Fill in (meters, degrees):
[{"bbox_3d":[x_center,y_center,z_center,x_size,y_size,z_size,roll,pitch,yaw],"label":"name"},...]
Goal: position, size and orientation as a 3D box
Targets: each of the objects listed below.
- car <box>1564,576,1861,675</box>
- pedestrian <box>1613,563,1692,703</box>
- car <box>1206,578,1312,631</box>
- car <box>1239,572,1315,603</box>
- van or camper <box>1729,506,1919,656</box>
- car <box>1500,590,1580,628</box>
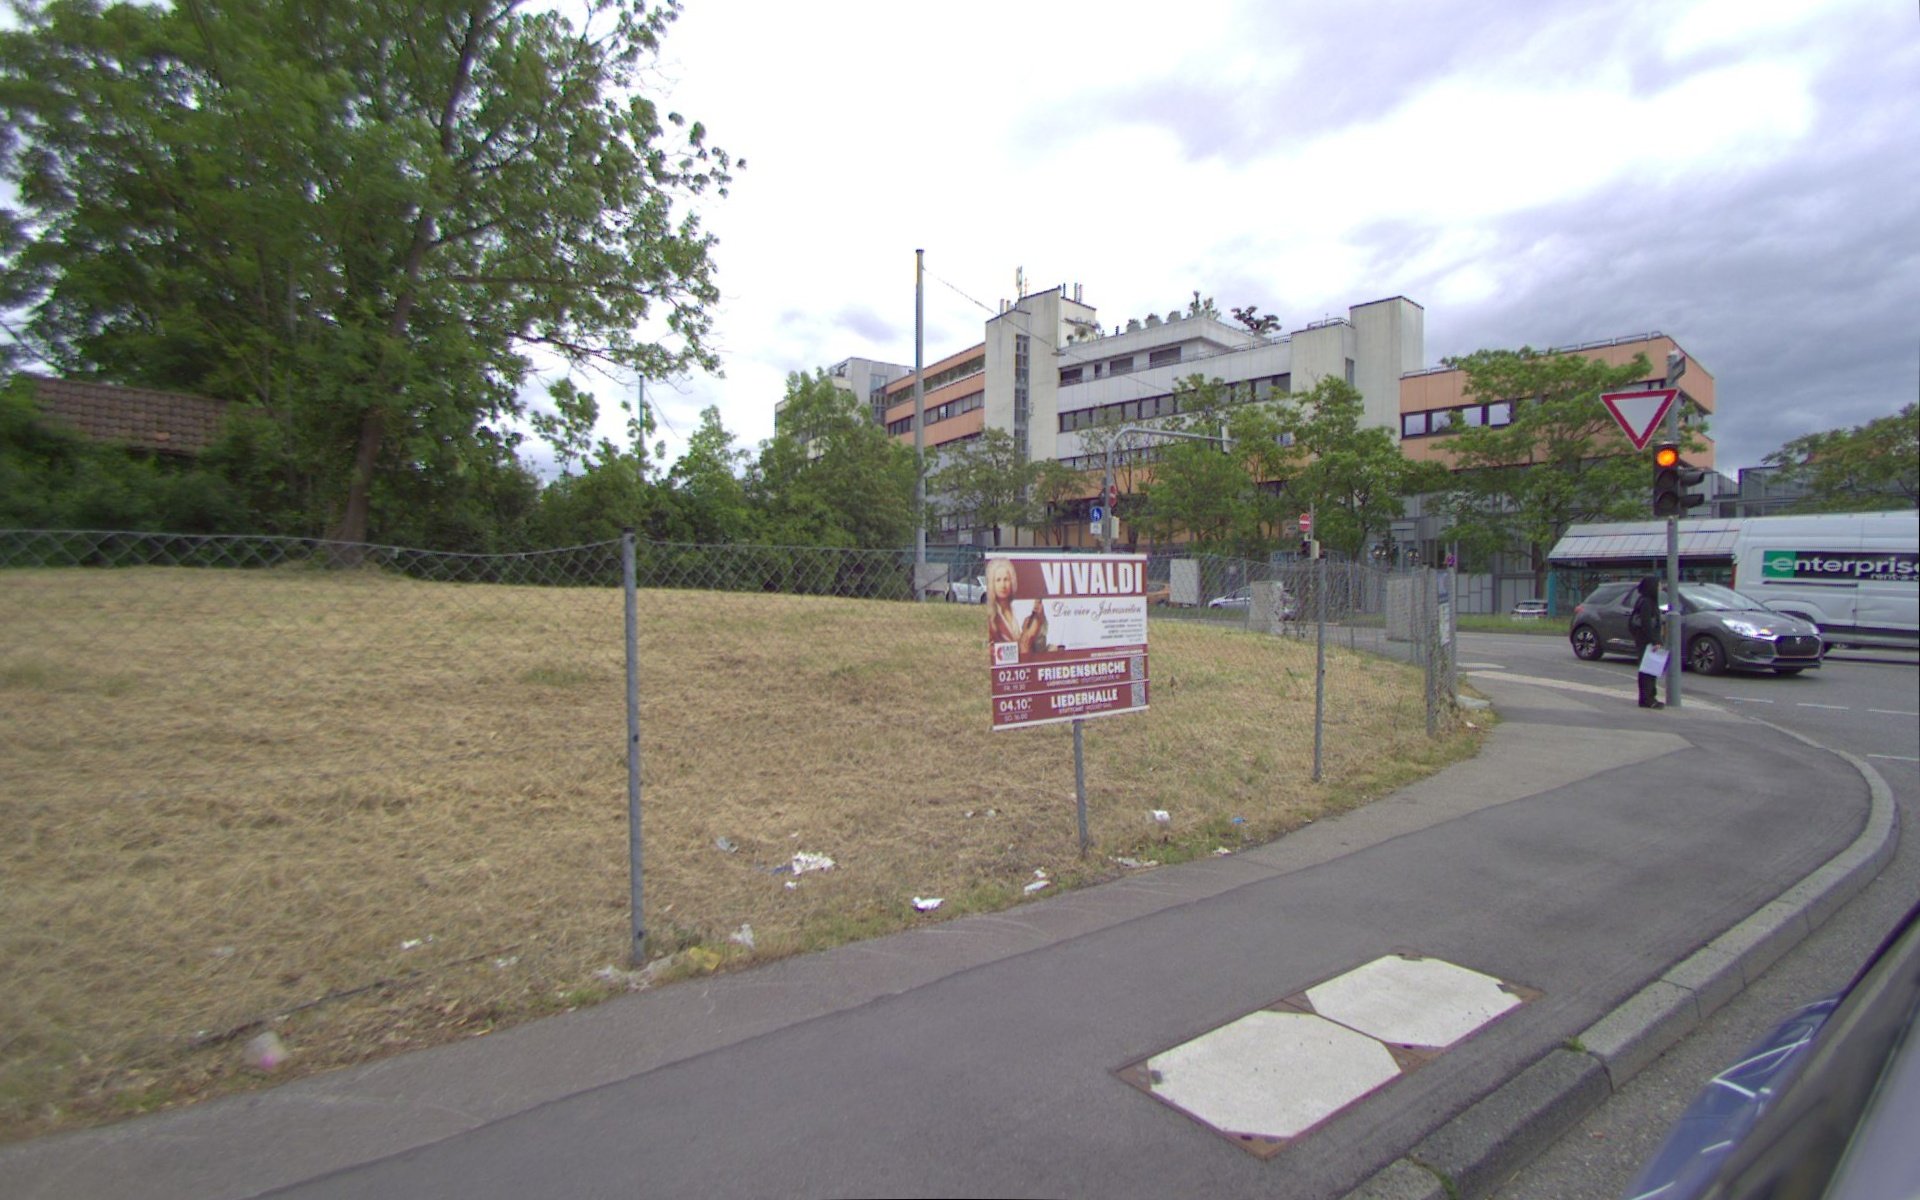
[{"bbox_3d":[12.396,0.344,17.001,1.613,1.415,3.790,1,2,-15],"label":"car"},{"bbox_3d":[8.302,0.374,12.134,0.660,1.610,0.553,0,3,-41],"label":"pedestrian"},{"bbox_3d":[13.133,0.137,44.552,1.965,2.038,3.996,0,4,-40],"label":"car"},{"bbox_3d":[13.928,-0.565,44.555,1.271,1.237,2.996,0,3,-39],"label":"car"},{"bbox_3d":[18.294,-0.341,18.820,2.216,2.706,5.936,0,2,-38],"label":"van or camper"},{"bbox_3d":[25.330,0.342,44.153,3.930,1.474,1.802,0,4,-41],"label":"car"}]
